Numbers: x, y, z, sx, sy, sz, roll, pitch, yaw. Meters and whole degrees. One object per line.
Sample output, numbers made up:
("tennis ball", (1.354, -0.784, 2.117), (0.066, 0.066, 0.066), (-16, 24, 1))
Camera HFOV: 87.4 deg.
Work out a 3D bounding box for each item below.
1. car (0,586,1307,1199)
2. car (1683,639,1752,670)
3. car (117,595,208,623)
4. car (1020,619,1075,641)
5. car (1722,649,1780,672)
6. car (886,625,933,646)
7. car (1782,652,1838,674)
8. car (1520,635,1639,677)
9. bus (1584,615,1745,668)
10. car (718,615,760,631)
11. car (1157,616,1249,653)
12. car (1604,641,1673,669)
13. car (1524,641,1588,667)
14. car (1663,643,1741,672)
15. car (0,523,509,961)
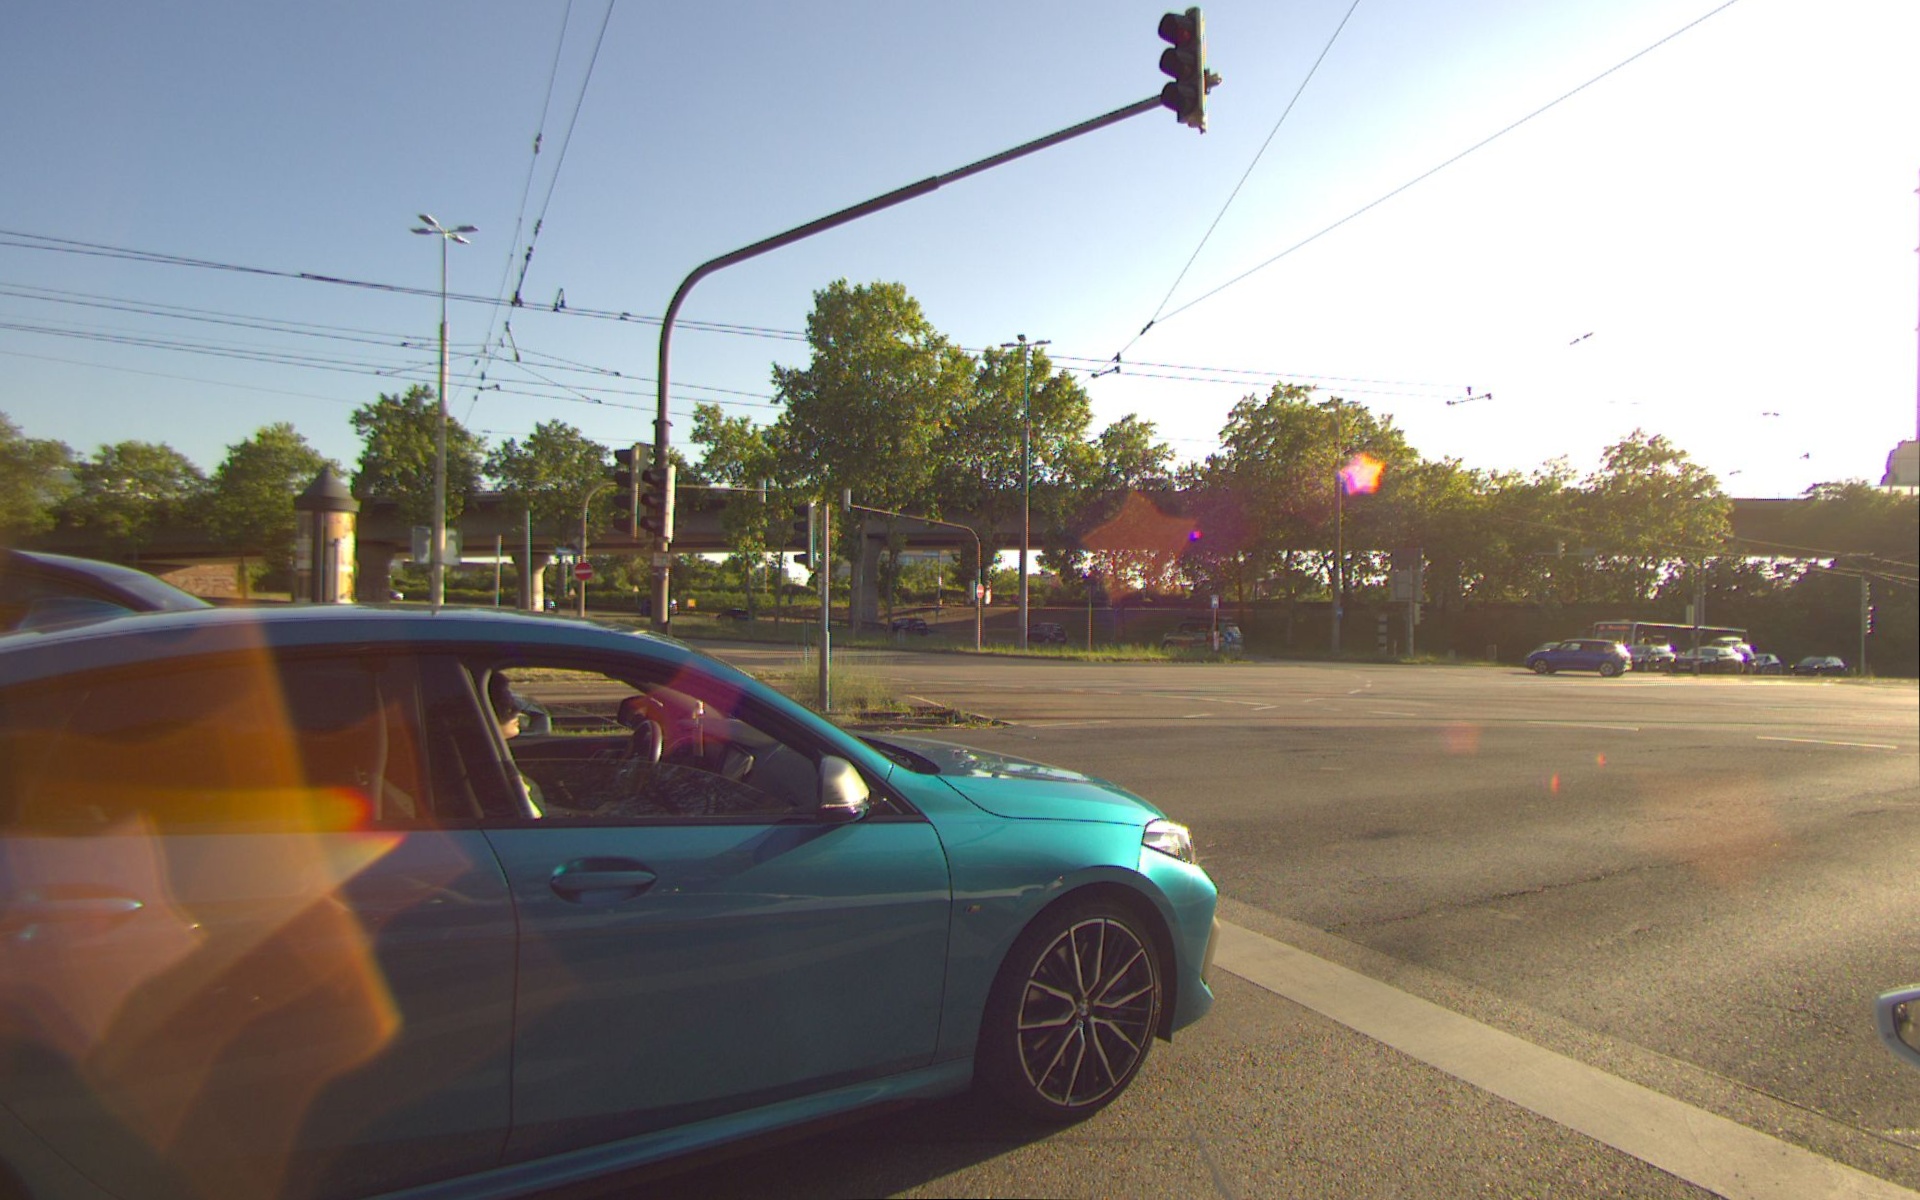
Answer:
("car", (-1.200, 0.730, 2.852), (4.465, 1.436, 1.774), (2, -1, -33))
("car", (43.249, 3.097, 57.341), (4.046, 1.674, 1.703), (2, -1, -30))
("car", (-43.551, 0.490, 54.872), (3.920, 1.505, 2.001), (0, -1, 18))
("car", (6.052, 2.083, 69.844), (1.683, 1.441, 3.689), (2, -1, -41))
("car", (52.995, 4.061, 67.318), (3.952, 1.461, 1.692), (2, -1, -30))
("car", (-3.847, 2.650, 75.857), (1.683, 1.441, 3.691), (2, -1, -39))
("car", (59.186, 4.380, 69.936), (3.952, 1.461, 1.692), (2, -1, -30))
("car", (25.986, 2.311, 42.187), (1.987, 1.579, 3.883), (3, -2, -45))
("bus", (43.773, 2.599, 62.184), (12.694, 2.993, 2.811), (2, -1, -28))
("car", (-21.485, 2.249, 97.659), (1.986, 1.473, 4.476), (3, -1, -43))
("car", (13.467, 1.889, 55.774), (1.986, 1.930, 4.645), (3, -1, -43))
("car", (36.231, 2.949, 53.639), (3.956, 1.372, 1.595), (2, -1, -32))
("car", (33.417, 3.016, 56.298), (3.693, 1.372, 1.595), (2, -1, -32))
("car", (37.969, 2.932, 51.391), (4.046, 1.372, 1.703), (2, -1, -30))
("car", (-4.623, 0.539, 4.472), (4.550, 1.703, 1.905), (2, -1, -32))
